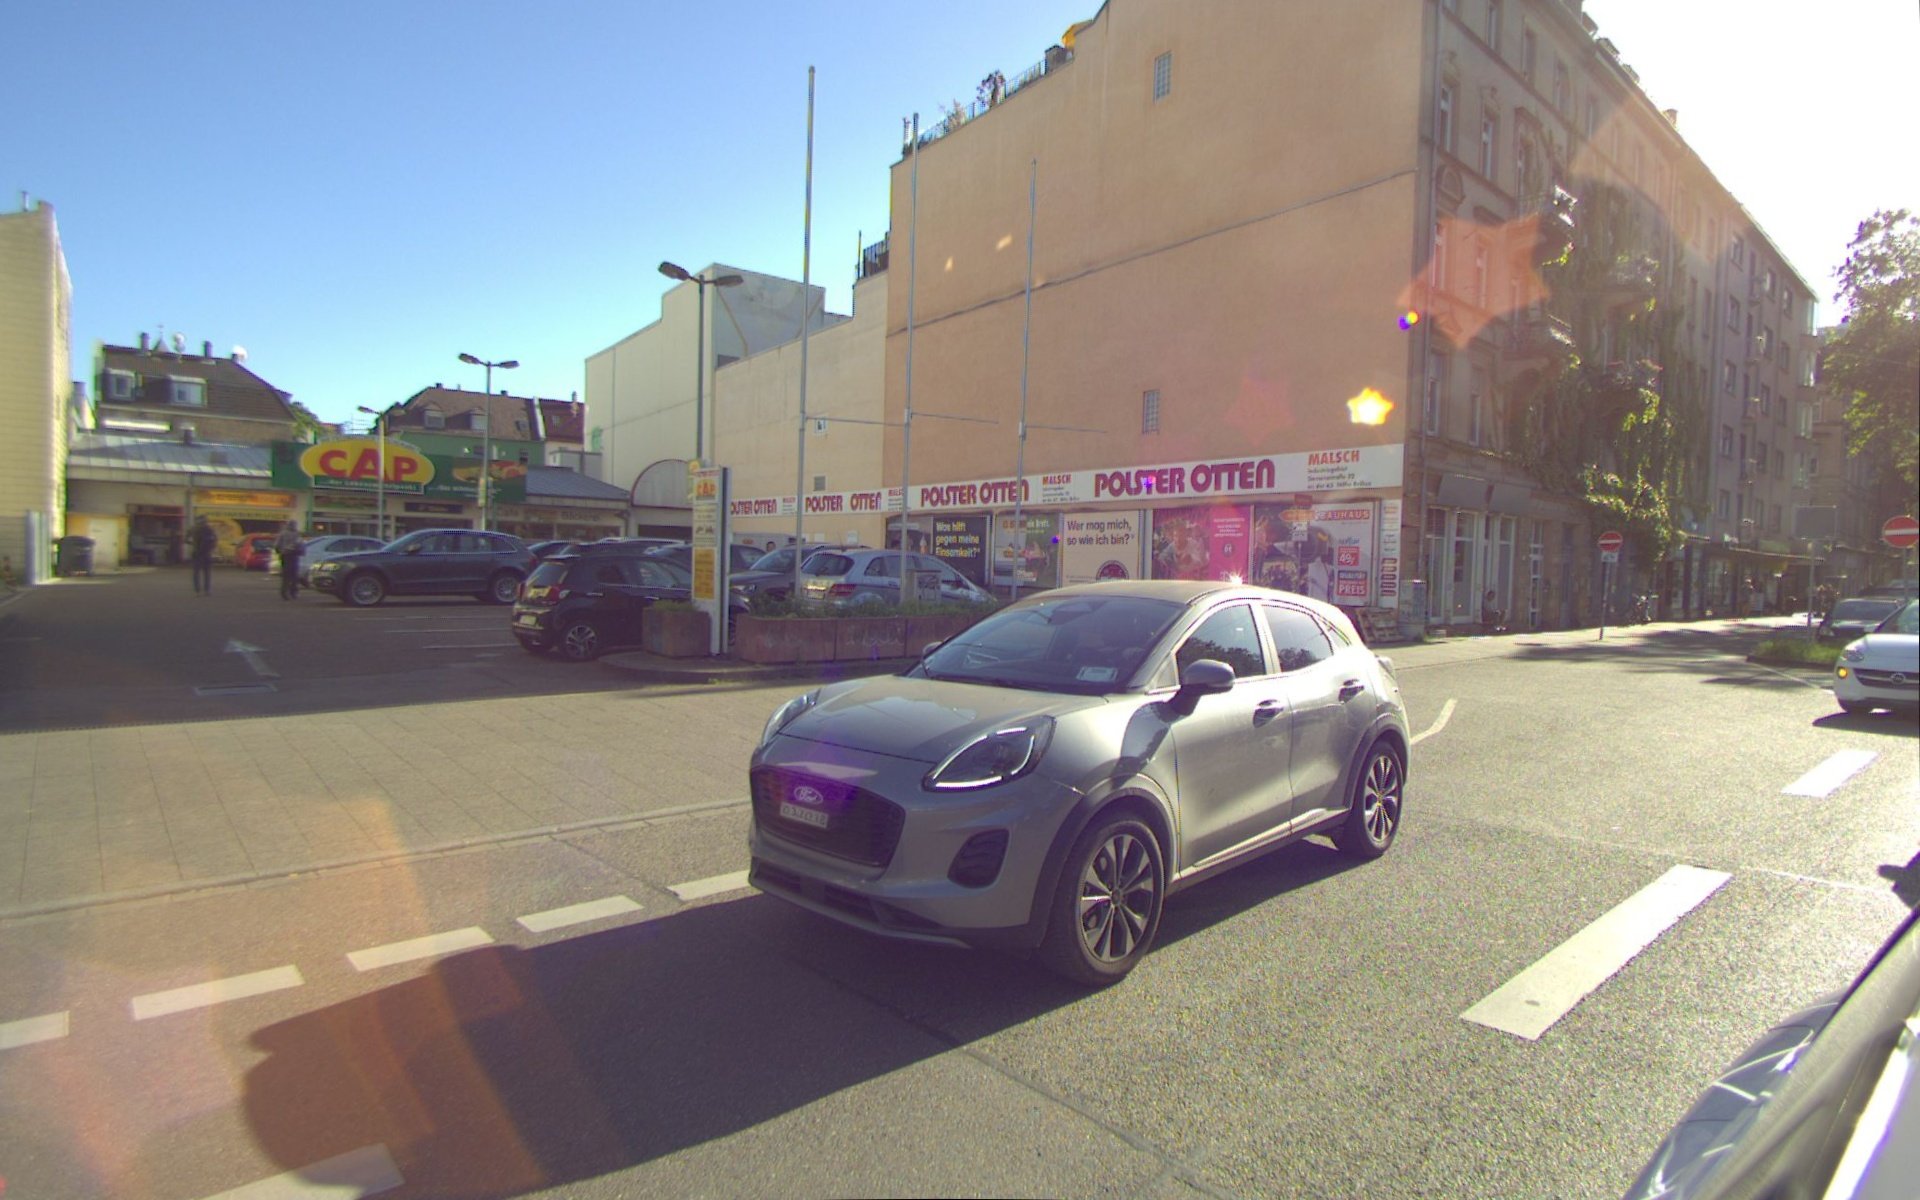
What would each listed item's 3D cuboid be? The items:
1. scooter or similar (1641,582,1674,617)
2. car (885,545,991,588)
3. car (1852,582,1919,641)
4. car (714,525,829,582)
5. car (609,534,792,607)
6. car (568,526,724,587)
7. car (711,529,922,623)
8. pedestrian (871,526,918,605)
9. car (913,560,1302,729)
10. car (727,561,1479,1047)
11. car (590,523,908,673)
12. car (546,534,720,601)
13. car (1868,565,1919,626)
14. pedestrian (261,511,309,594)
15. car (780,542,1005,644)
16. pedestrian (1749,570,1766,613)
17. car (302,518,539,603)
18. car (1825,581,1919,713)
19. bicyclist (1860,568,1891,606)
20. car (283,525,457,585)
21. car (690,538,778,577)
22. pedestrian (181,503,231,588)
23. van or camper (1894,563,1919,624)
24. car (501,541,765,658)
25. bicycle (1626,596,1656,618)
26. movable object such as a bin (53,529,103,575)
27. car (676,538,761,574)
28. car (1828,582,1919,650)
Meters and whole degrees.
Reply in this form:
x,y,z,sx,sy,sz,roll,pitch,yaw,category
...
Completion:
x,y,z,sx,sy,sz,roll,pitch,yaw,category
25.115,-0.030,36.478,0.631,1.188,1.720,2,2,24,scooter or similar
-0.778,-1.246,36.856,3.580,1.481,1.680,-2,4,-39,car
26.056,0.279,27.940,3.933,1.536,1.740,-1,0,-43,car
-8.552,-2.099,46.064,4.787,2.441,1.712,0,2,-32,car
-6.008,-0.691,23.656,3.871,1.563,1.544,-1,3,-42,car
-8.819,-1.212,28.586,3.871,1.600,1.659,-1,3,-42,car
-2.819,-0.506,20.427,3.934,1.714,1.747,-1,3,-44,car
-1.733,-0.922,26.850,0.907,2.038,0.818,0,2,-41,pedestrian
1.876,0.380,11.855,4.650,1.504,1.838,-1,5,-40,car
1.095,0.605,5.349,4.310,1.547,1.698,-1,2,-45,car
-2.700,-0.093,13.470,3.840,1.664,1.652,-1,5,-45,car
-8.141,-0.806,25.401,3.871,1.563,1.544,-1,3,-42,car
29.828,-0.142,31.436,3.930,1.785,1.868,-1,3,-41,car
-14.798,-1.039,22.192,0.511,1.777,0.752,3,2,39,pedestrian
-1.153,-0.184,18.498,3.935,1.665,1.746,-1,3,-45,car
35.109,-0.383,44.549,0.507,1.855,0.469,0,2,-41,pedestrian
-11.705,-0.840,22.128,4.306,1.686,1.758,-1,3,-41,car
12.485,0.505,12.095,3.702,1.472,1.612,-1,1,-19,car
36.267,-0.516,40.093,0.934,1.479,0.746,-1,2,-39,bicyclist
-16.377,-1.227,28.188,3.931,1.537,1.725,-1,3,-41,car
-11.278,-2.114,50.523,3.967,1.823,1.664,0,2,-30,car
-17.003,-1.225,22.830,0.745,1.864,0.752,3,2,40,pedestrian
33.934,-0.221,34.988,5.007,2.038,1.887,-1,3,-42,van or camper
-4.696,-0.060,14.790,3.340,1.504,1.559,-1,3,-45,car
23.727,0.242,35.244,1.486,0.714,0.469,0,2,-41,bicycle
-30.595,-1.665,35.124,1.256,1.526,1.176,0,3,-40,movable object such as a bin
-12.613,-2.284,52.916,3.967,1.758,1.664,0,2,-30,car
22.817,0.346,24.999,3.933,1.536,1.642,-1,0,-43,car
